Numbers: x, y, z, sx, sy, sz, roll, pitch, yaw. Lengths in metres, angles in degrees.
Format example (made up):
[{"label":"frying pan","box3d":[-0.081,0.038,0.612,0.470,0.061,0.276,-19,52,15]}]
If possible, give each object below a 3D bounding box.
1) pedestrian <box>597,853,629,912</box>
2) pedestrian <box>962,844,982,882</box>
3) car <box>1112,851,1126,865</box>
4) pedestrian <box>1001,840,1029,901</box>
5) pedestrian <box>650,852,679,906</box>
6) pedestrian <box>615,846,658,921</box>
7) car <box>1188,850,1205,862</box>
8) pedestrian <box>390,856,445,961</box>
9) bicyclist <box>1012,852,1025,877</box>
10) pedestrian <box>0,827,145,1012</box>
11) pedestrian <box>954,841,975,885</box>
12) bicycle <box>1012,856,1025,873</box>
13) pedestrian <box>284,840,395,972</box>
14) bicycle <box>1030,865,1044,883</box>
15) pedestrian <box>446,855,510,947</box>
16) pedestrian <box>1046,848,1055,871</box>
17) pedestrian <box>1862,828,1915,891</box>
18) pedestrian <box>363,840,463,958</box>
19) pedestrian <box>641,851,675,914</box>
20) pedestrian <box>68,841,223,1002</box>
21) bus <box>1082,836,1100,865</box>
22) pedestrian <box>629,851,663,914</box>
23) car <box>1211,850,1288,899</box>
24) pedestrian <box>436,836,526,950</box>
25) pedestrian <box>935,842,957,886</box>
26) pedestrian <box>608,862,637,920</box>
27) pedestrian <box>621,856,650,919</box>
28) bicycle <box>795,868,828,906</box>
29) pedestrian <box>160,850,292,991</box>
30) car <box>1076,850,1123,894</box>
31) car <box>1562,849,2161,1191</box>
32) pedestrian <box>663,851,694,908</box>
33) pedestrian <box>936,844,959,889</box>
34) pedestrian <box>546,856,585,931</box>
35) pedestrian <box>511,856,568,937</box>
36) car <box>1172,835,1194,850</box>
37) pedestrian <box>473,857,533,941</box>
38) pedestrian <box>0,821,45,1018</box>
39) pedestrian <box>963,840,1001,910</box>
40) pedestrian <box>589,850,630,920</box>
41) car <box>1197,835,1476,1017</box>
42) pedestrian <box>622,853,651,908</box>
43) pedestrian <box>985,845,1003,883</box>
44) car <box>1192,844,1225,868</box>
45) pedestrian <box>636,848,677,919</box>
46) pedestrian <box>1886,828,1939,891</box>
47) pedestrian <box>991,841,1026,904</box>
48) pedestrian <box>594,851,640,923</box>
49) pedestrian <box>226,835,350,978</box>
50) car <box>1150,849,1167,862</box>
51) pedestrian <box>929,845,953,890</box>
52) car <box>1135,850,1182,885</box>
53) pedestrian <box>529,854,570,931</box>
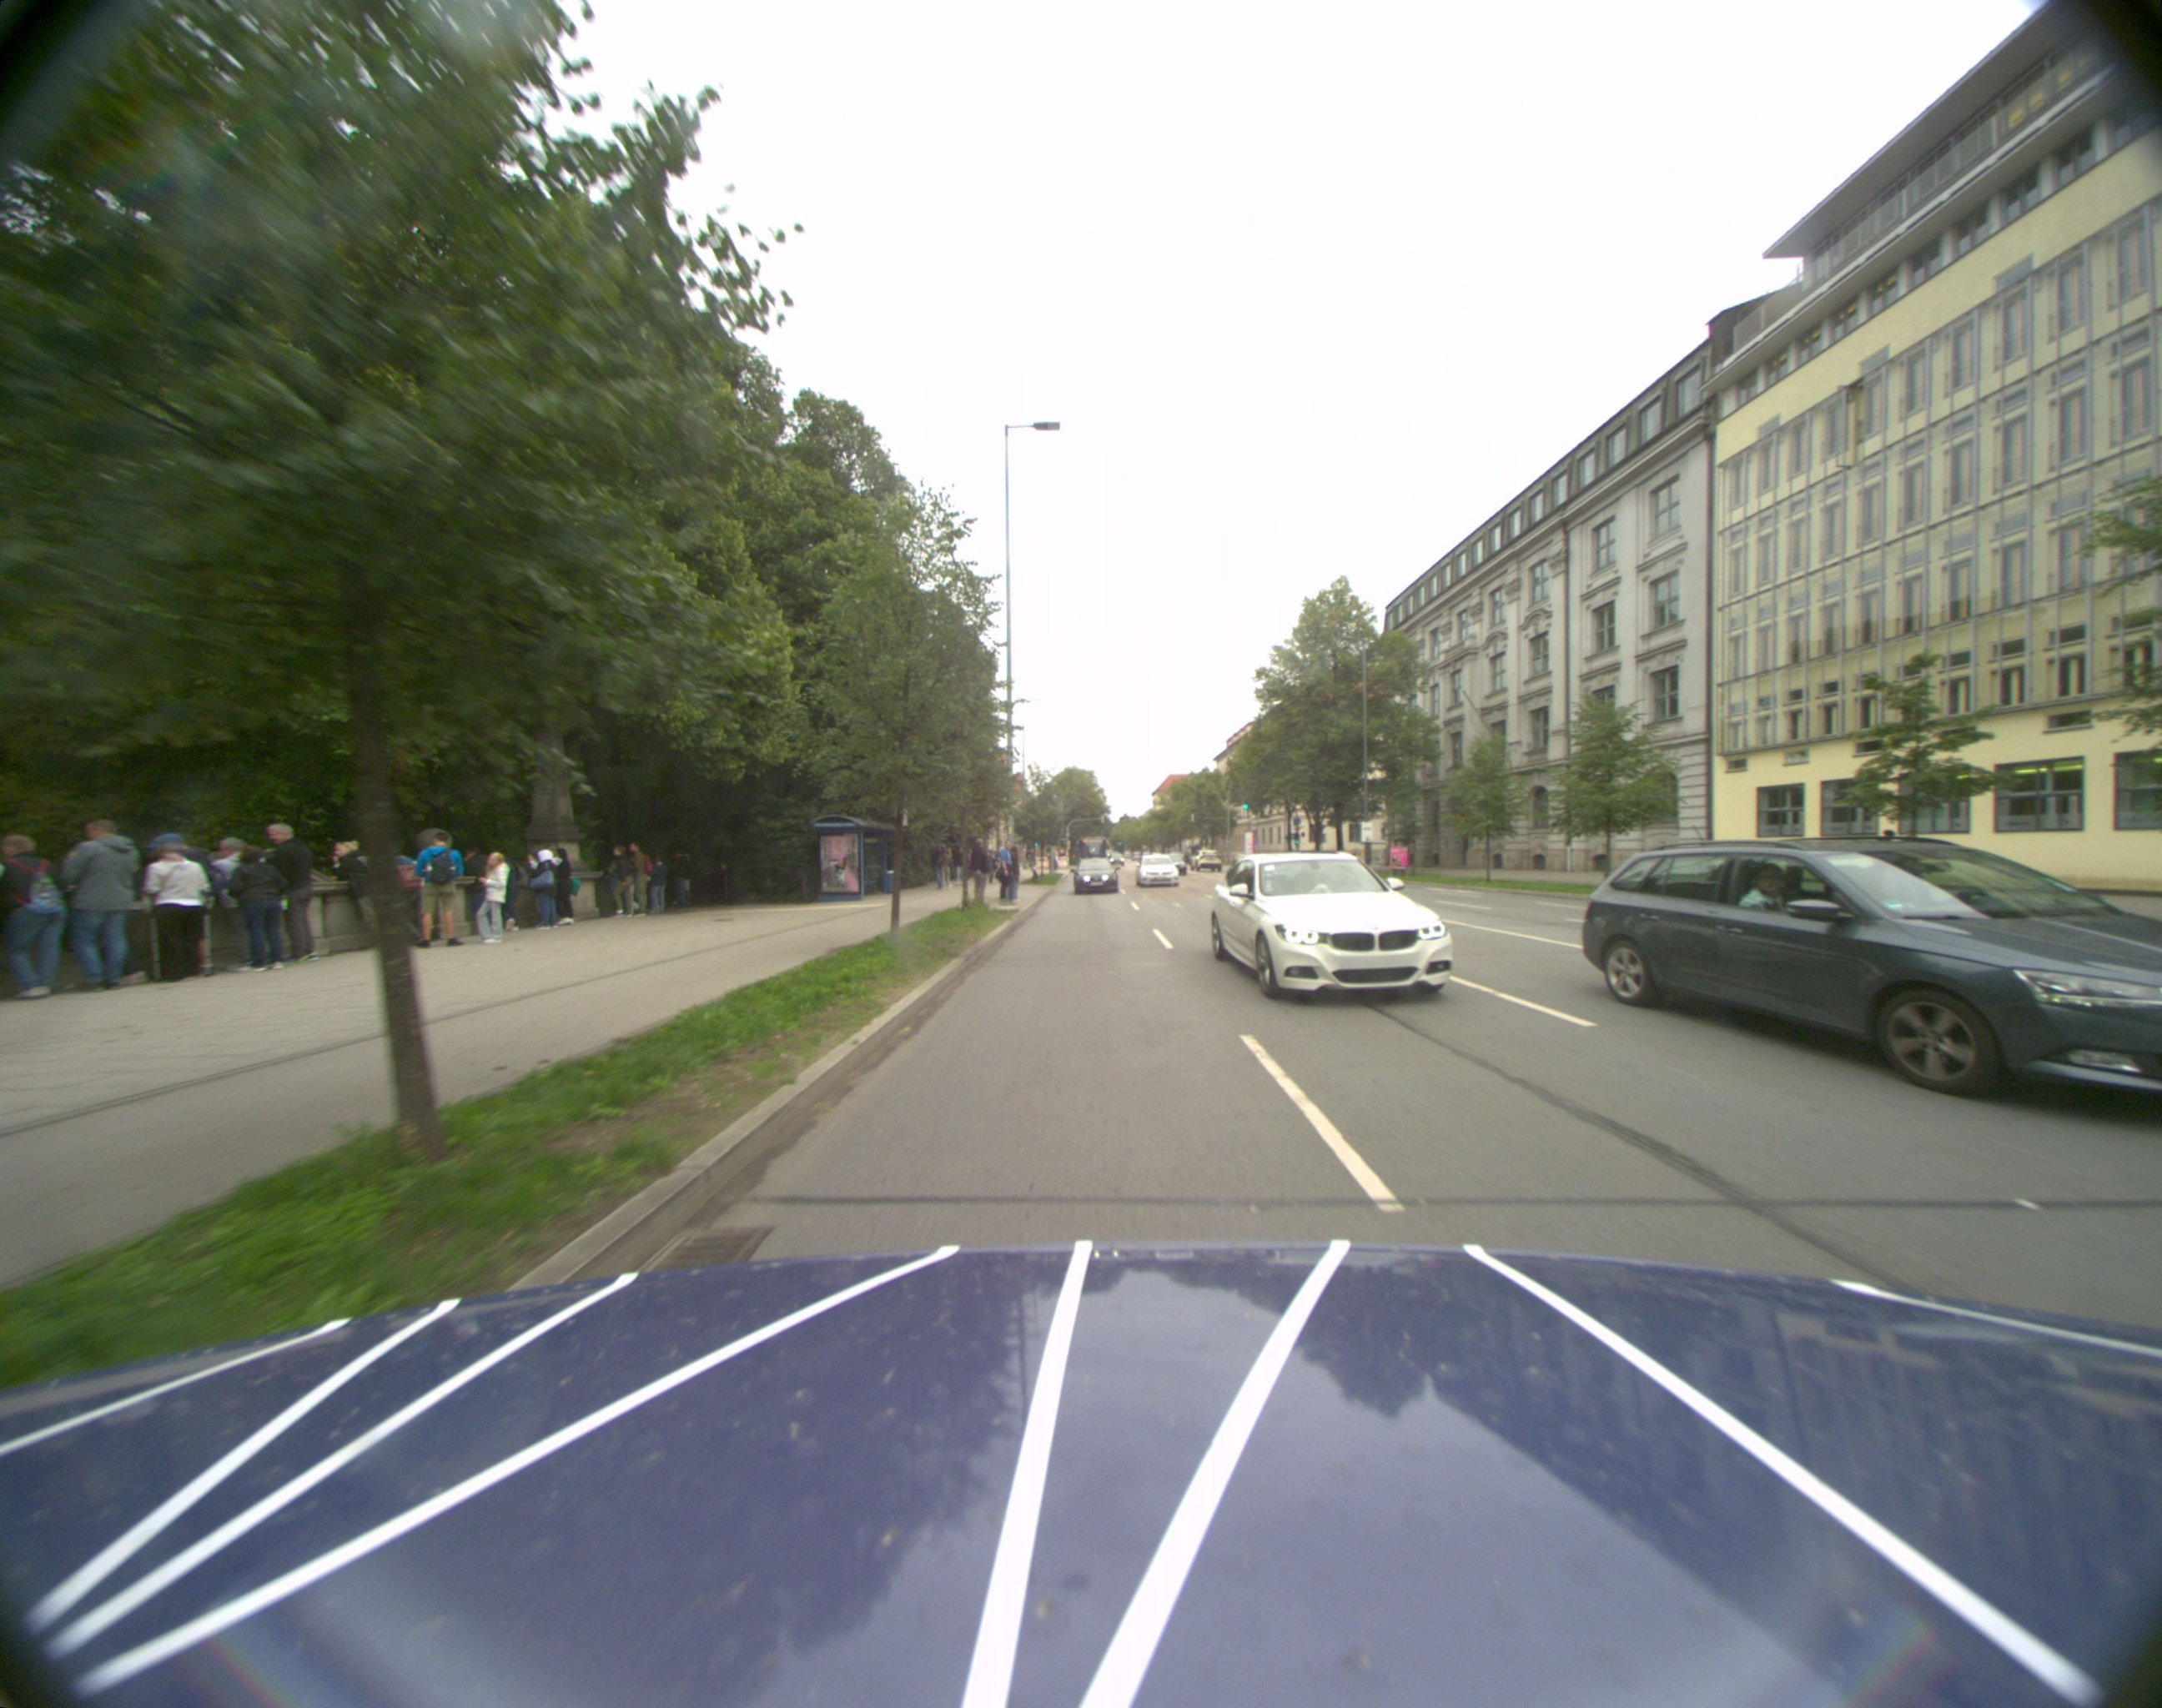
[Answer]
[{"label":"pedestrian","box3d":[-14.227,0.864,23.099,0.636,1.758,0.534,-1,1,33]},{"label":"pedestrian","box3d":[-5.289,0.420,36.834,0.753,1.828,0.756,-2,1,2]},{"label":"car","box3d":[4.625,0.464,92.929,1.638,1.562,3.946,-1,0,1]},{"label":"pedestrian","box3d":[-1.997,0.490,23.147,0.710,1.798,0.639,-2,1,1]},{"label":"pedestrian","box3d":[-13.920,0.830,25.372,0.636,1.758,0.534,-1,1,33]},{"label":"pedestrian","box3d":[-10.679,0.693,18.259,0.637,1.758,0.533,-2,1,4]},{"label":"car","box3d":[15.183,0.260,100.131,1.638,1.562,4.223,-1,0,1]},{"label":"pedestrian","box3d":[-10.951,0.886,12.547,0.421,1.694,0.442,-2,1,1]},{"label":"bicyclist","box3d":[-4.148,0.685,50.591,0.759,1.657,0.898,-2,1,-6]},{"label":"pedestrian","box3d":[-10.850,0.671,8.074,0.814,1.864,0.729,-2,1,4]},{"label":"pedestrian","box3d":[-5.236,0.399,34.231,0.710,1.904,0.956,-2,1,1]},{"label":"bicycle","box3d":[-4.156,0.713,50.590,0.740,1.051,2.161,-2,1,-6]},{"label":"pedestrian","box3d":[-10.829,0.733,11.123,0.814,1.841,0.729,-2,1,4]},{"label":"bicycle","box3d":[-2.197,0.999,38.237,0.494,0.789,1.889,-2,1,1]},{"label":"pedestrian","box3d":[-10.800,0.829,13.614,0.637,1.607,0.533,-2,1,4]},{"label":"pedestrian","box3d":[-2.353,0.394,58.096,0.610,1.751,0.635,1,1,-5]},{"label":"pedestrian","box3d":[23.423,0.161,22.056,0.617,1.767,0.836,-2,1,1]},{"label":"pedestrian","box3d":[-10.369,0.675,11.820,0.814,1.758,0.729,-2,1,4]},{"label":"pedestrian","box3d":[-12.000,0.796,21.577,0.636,1.758,0.534,-1,1,33]},{"label":"pedestrian","box3d":[-10.821,0.753,8.821,0.814,1.780,0.729,-2,1,4]},{"label":"bus","box3d":[0.969,-0.344,73.312,1.638,2.570,6.701,-1,0,1]},{"label":"pedestrian","box3d":[-12.550,0.813,21.932,0.636,1.758,0.534,-1,1,33]},{"label":"car","box3d":[5.749,0.634,26.389,1.695,1.507,4.338,-1,1,0]},{"label":"pedestrian","box3d":[-9.961,0.626,12.645,0.814,1.819,0.729,-2,1,4]},{"label":"pedestrian","box3d":[-6.009,0.435,33.766,0.710,1.904,0.956,-2,1,1]},{"label":"pedestrian","box3d":[-12.120,0.972,20.082,0.421,1.499,0.442,-2,1,4]},{"label":"pedestrian","box3d":[-12.070,0.901,20.586,0.421,1.694,0.442,-2,1,4]},{"label":"bicycle","box3d":[-8.200,0.994,23.154,0.394,1.054,1.576,-2,0,1]},{"label":"pedestrian","box3d":[-10.700,0.807,9.531,0.814,1.681,0.674,-2,1,4]},{"label":"car","box3d":[0.738,0.688,31.422,1.797,1.627,4.274,-1,1,1]},{"label":"car","box3d":[5.648,0.713,5.398,1.797,1.439,4.274,-1,1,1]},{"label":"pedestrian","box3d":[-12.707,0.799,23.987,0.636,1.758,0.534,-1,1,33]},{"label":"pedestrian","box3d":[-5.366,0.495,30.598,0.710,1.798,0.639,-2,1,1]},{"label":"pedestrian","box3d":[-10.590,0.796,15.618,0.421,1.499,0.442,-2,1,4]},{"label":"pedestrian","box3d":[-10.450,0.805,14.664,0.637,1.499,0.533,-2,1,4]},{"label":"car","box3d":[10.323,-1.139,76.940,1.771,1.415,4.747,1,1,2]},{"label":"pedestrian","box3d":[-10.727,0.821,14.118,0.637,1.499,0.533,-2,1,4]},{"label":"pedestrian","box3d":[-10.890,0.648,7.287,0.814,1.906,0.729,-2,1,4]},{"label":"pedestrian","box3d":[-2.713,0.556,20.813,0.804,1.870,0.545,-1,1,37]},{"label":"pedestrian","box3d":[-12.136,0.778,19.578,0.637,1.758,0.533,-2,1,4]},{"label":"car","box3d":[2.702,0.611,9.383,1.797,1.627,5.025,-1,1,1]},{"label":"pedestrian","box3d":[-14.356,0.854,24.543,0.636,1.756,0.534,-1,-3,33]},{"label":"pedestrian","box3d":[-4.223,0.474,36.861,0.672,1.828,0.641,-2,1,2]},{"label":"car","box3d":[9.640,0.131,57.784,1.861,1.738,4.630,1,0,2]},{"label":"pedestrian","box3d":[-10.761,0.747,19.268,0.637,1.758,0.533,-2,1,4]},{"label":"pedestrian","box3d":[24.083,0.159,22.023,0.617,1.767,0.836,-2,1,1]},{"label":"pedestrian","box3d":[-2.136,0.537,22.387,0.637,1.798,0.711,-1,1,37]},{"label":"pedestrian","box3d":[-10.676,0.746,17.503,0.637,1.617,0.533,-2,1,4]},{"label":"pedestrian","box3d":[-10.670,0.683,10.256,0.814,1.841,0.729,-2,1,4]},{"label":"car","box3d":[10.019,0.201,98.512,1.832,1.533,4.825,0,-1,2]},{"label":"pedestrian","box3d":[-5.803,0.547,31.530,0.710,1.798,0.950,-2,1,1]},{"label":"car","box3d":[3.554,0.574,35.395,1.797,1.439,4.274,-1,1,1]},{"label":"pedestrian","box3d":[-10.603,0.768,15.178,0.421,1.499,0.442,-2,1,4]}]
